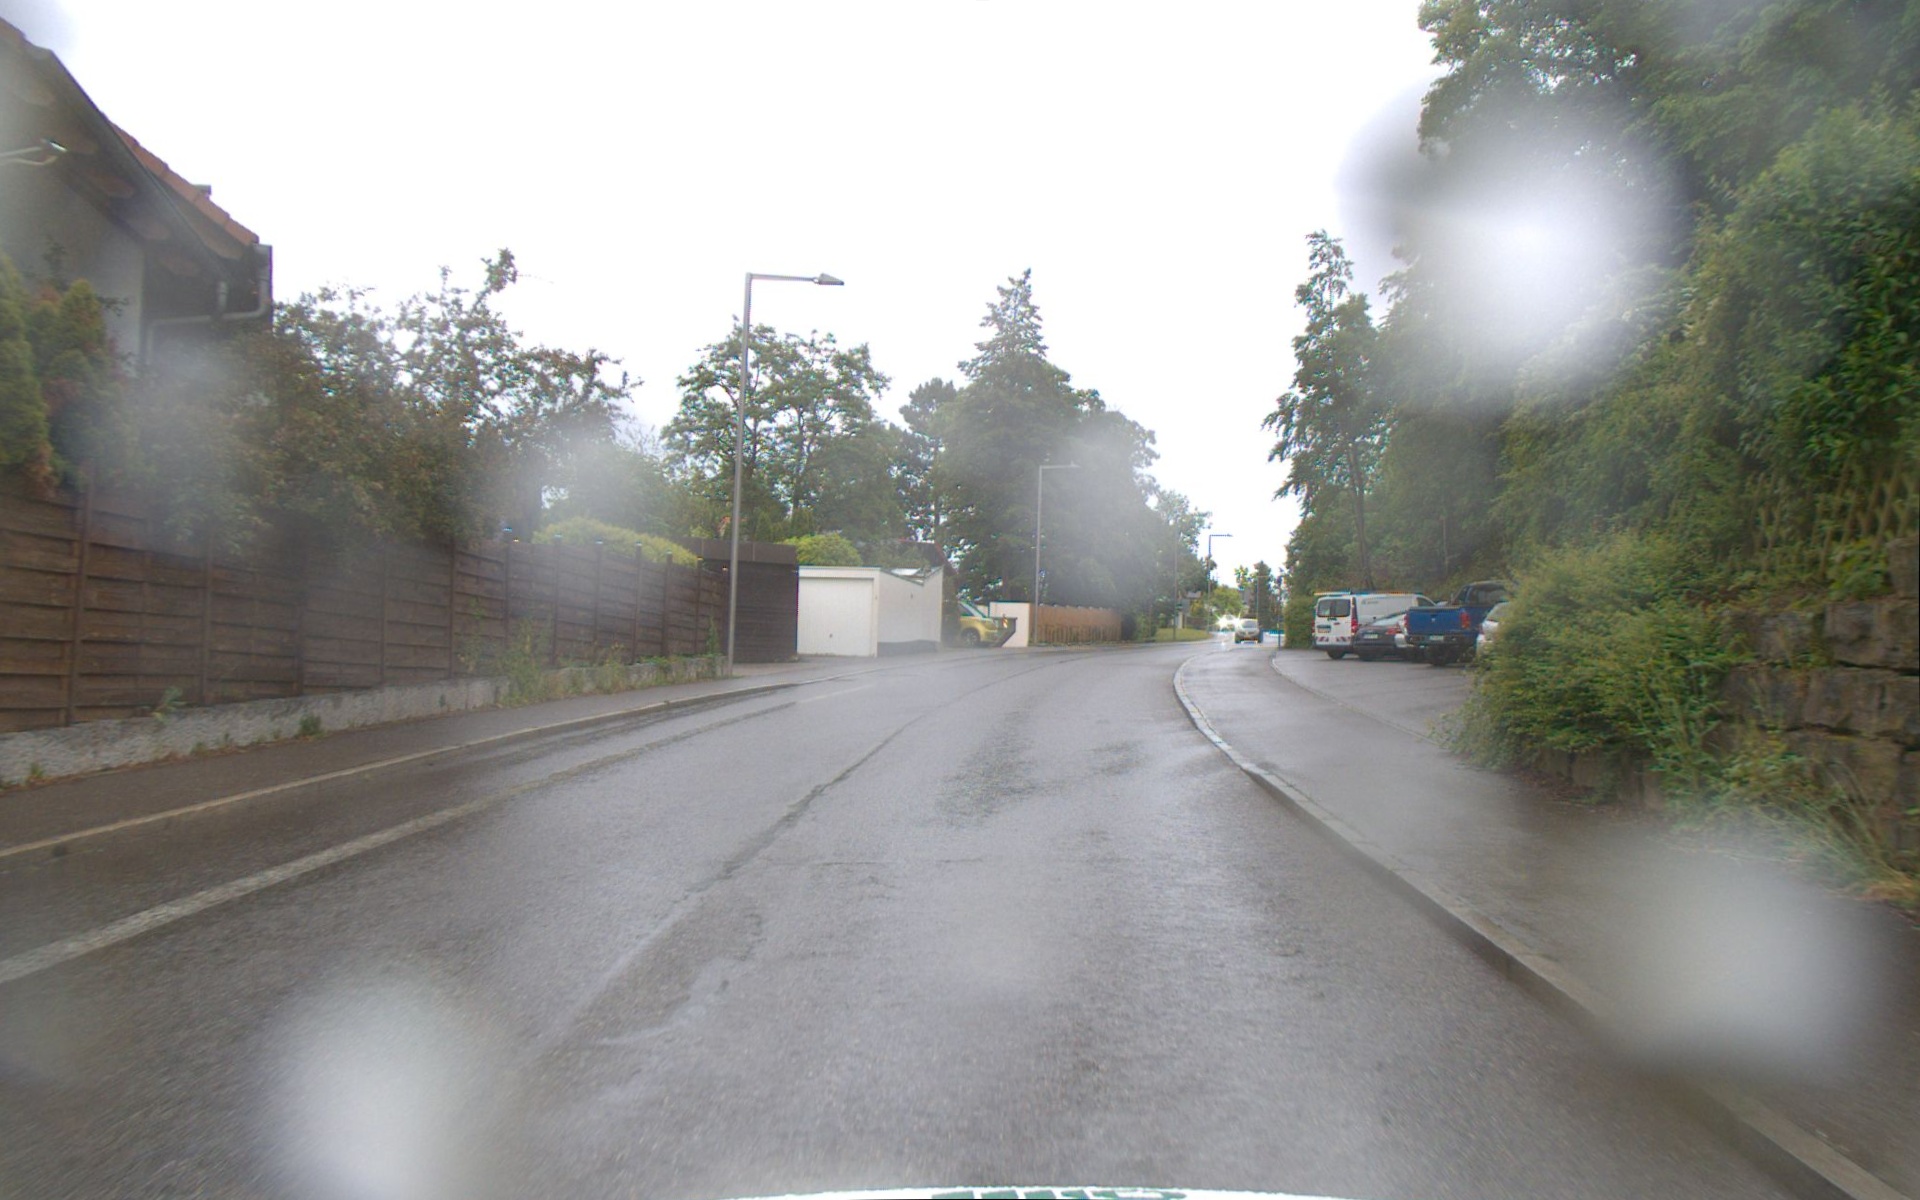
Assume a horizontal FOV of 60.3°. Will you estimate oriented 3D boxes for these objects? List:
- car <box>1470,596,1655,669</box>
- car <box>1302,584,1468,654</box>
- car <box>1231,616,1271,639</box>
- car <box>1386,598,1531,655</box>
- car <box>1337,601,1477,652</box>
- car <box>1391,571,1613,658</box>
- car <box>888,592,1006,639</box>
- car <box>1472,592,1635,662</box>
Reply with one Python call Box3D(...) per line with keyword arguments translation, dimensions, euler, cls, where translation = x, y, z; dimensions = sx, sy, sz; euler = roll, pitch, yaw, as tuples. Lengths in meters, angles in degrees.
Box3D(translation=(12.459, 0.638, 34.167), dimensions=(3.796, 1.426, 1.697), euler=(0, -1, -34), cls="car")
Box3D(translation=(12.641, 0.540, 49.095), dimensions=(4.782, 1.974, 2.132), euler=(0, 0, -33), cls="car")
Box3D(translation=(19.970, 1.883, 113.406), dimensions=(1.796, 1.538, 4.617), euler=(0, -1, 21), cls="car")
Box3D(translation=(13.185, 0.668, 43.666), dimensions=(3.948, 1.438, 1.606), euler=(0, -1, -35), cls="car")
Box3D(translation=(12.456, 0.717, 46.024), dimensions=(3.750, 1.372, 1.741), euler=(0, -1, -34), cls="car")
Box3D(translation=(13.257, 0.350, 40.351), dimensions=(5.411, 2.003, 2.305), euler=(0, 0, -33), cls="car")
Box3D(translation=(-0.521, 0.620, 67.780), dimensions=(4.408, 1.892, 2.090), euler=(0, 0, 17), cls="car")
Box3D(translation=(13.502, 0.581, 37.555), dimensions=(3.868, 1.512, 1.598), euler=(0, -1, -36), cls="car")
